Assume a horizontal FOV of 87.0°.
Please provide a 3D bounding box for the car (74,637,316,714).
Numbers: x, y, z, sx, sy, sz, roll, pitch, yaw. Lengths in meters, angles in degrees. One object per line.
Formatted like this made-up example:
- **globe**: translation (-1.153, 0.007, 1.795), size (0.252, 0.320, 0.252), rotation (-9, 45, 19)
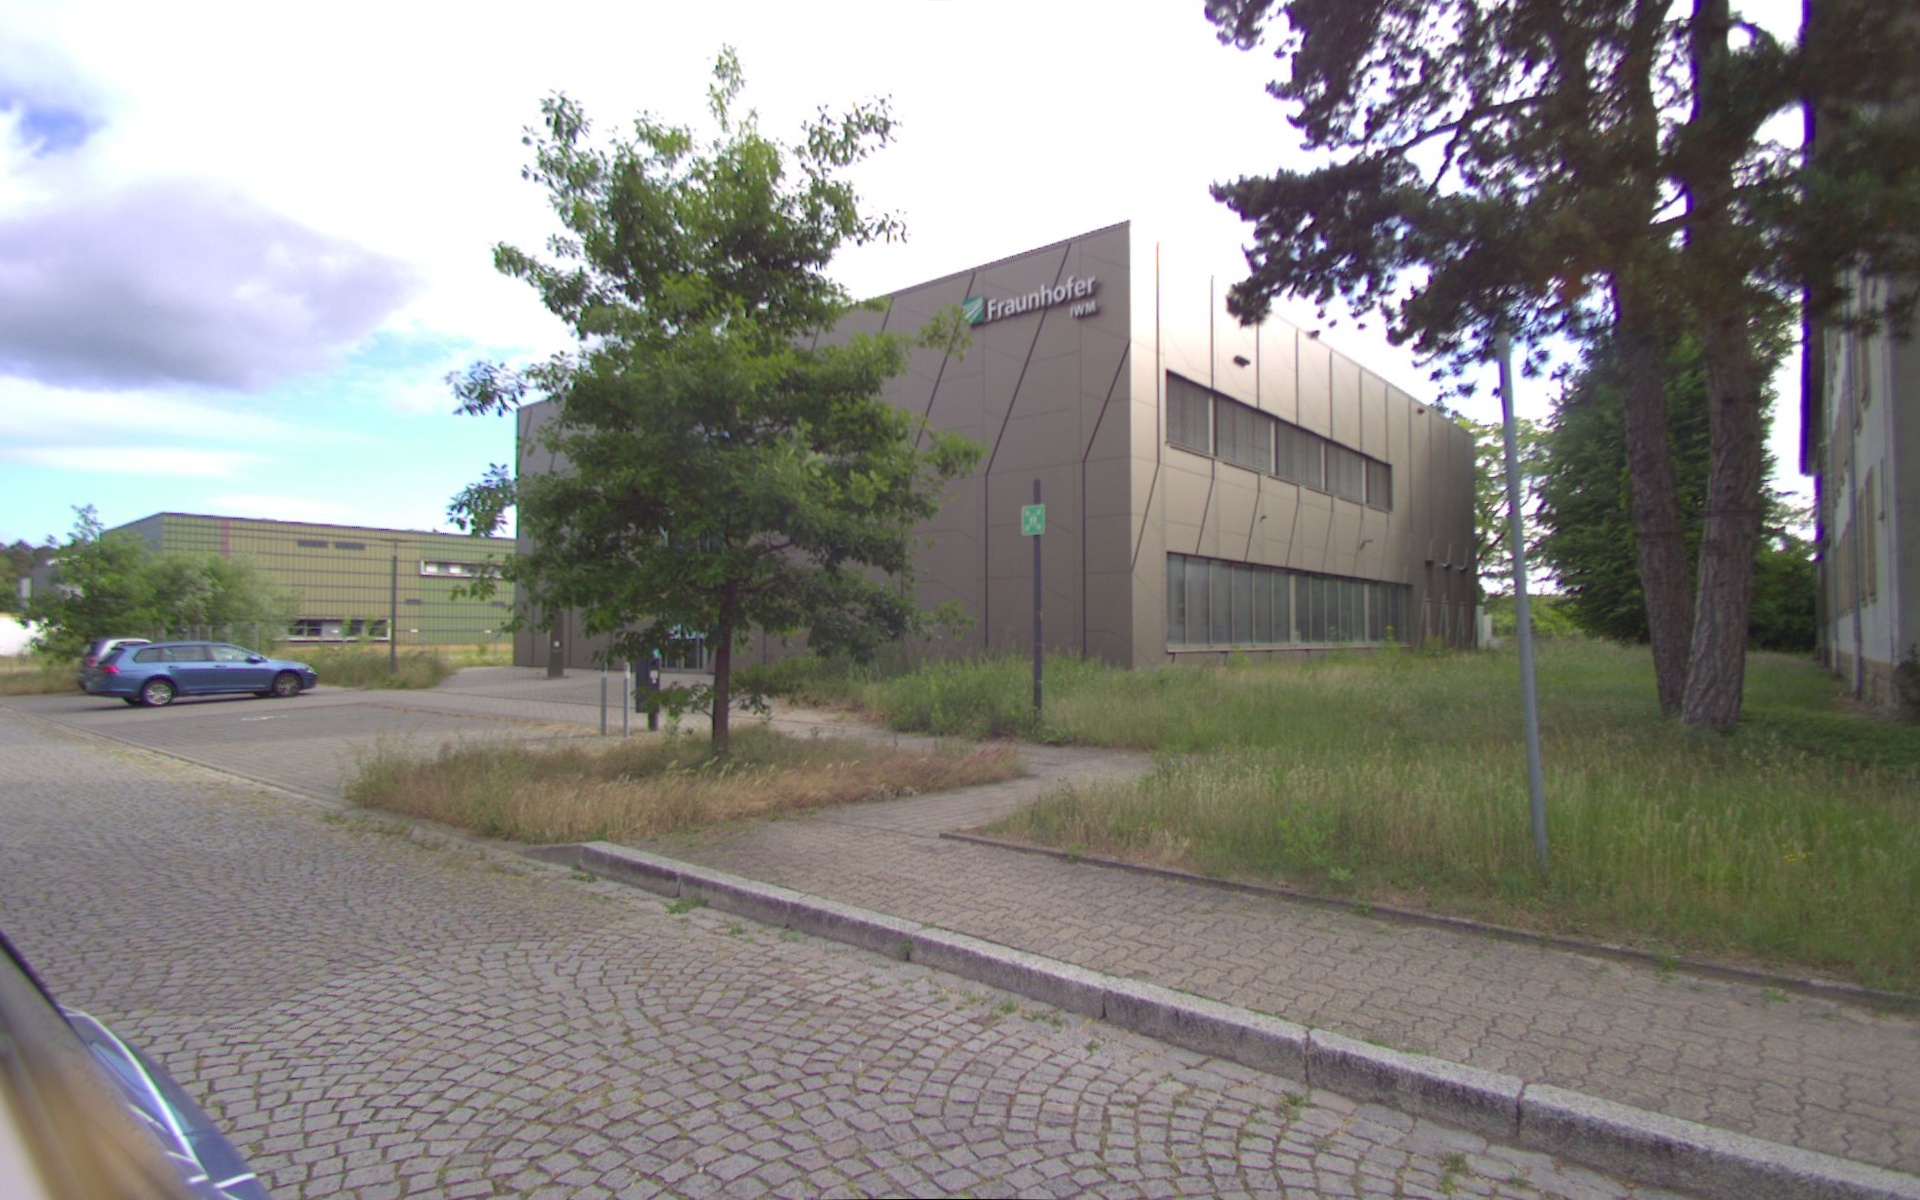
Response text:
- **car**: translation (-18.314, 1.736, 24.424), size (1.714, 1.522, 4.351), rotation (-2, 0, 37)

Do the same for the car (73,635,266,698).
- **car**: translation (-23.297, 1.904, 29.913), size (4.340, 1.557, 1.843), rotation (-1, -1, -44)
